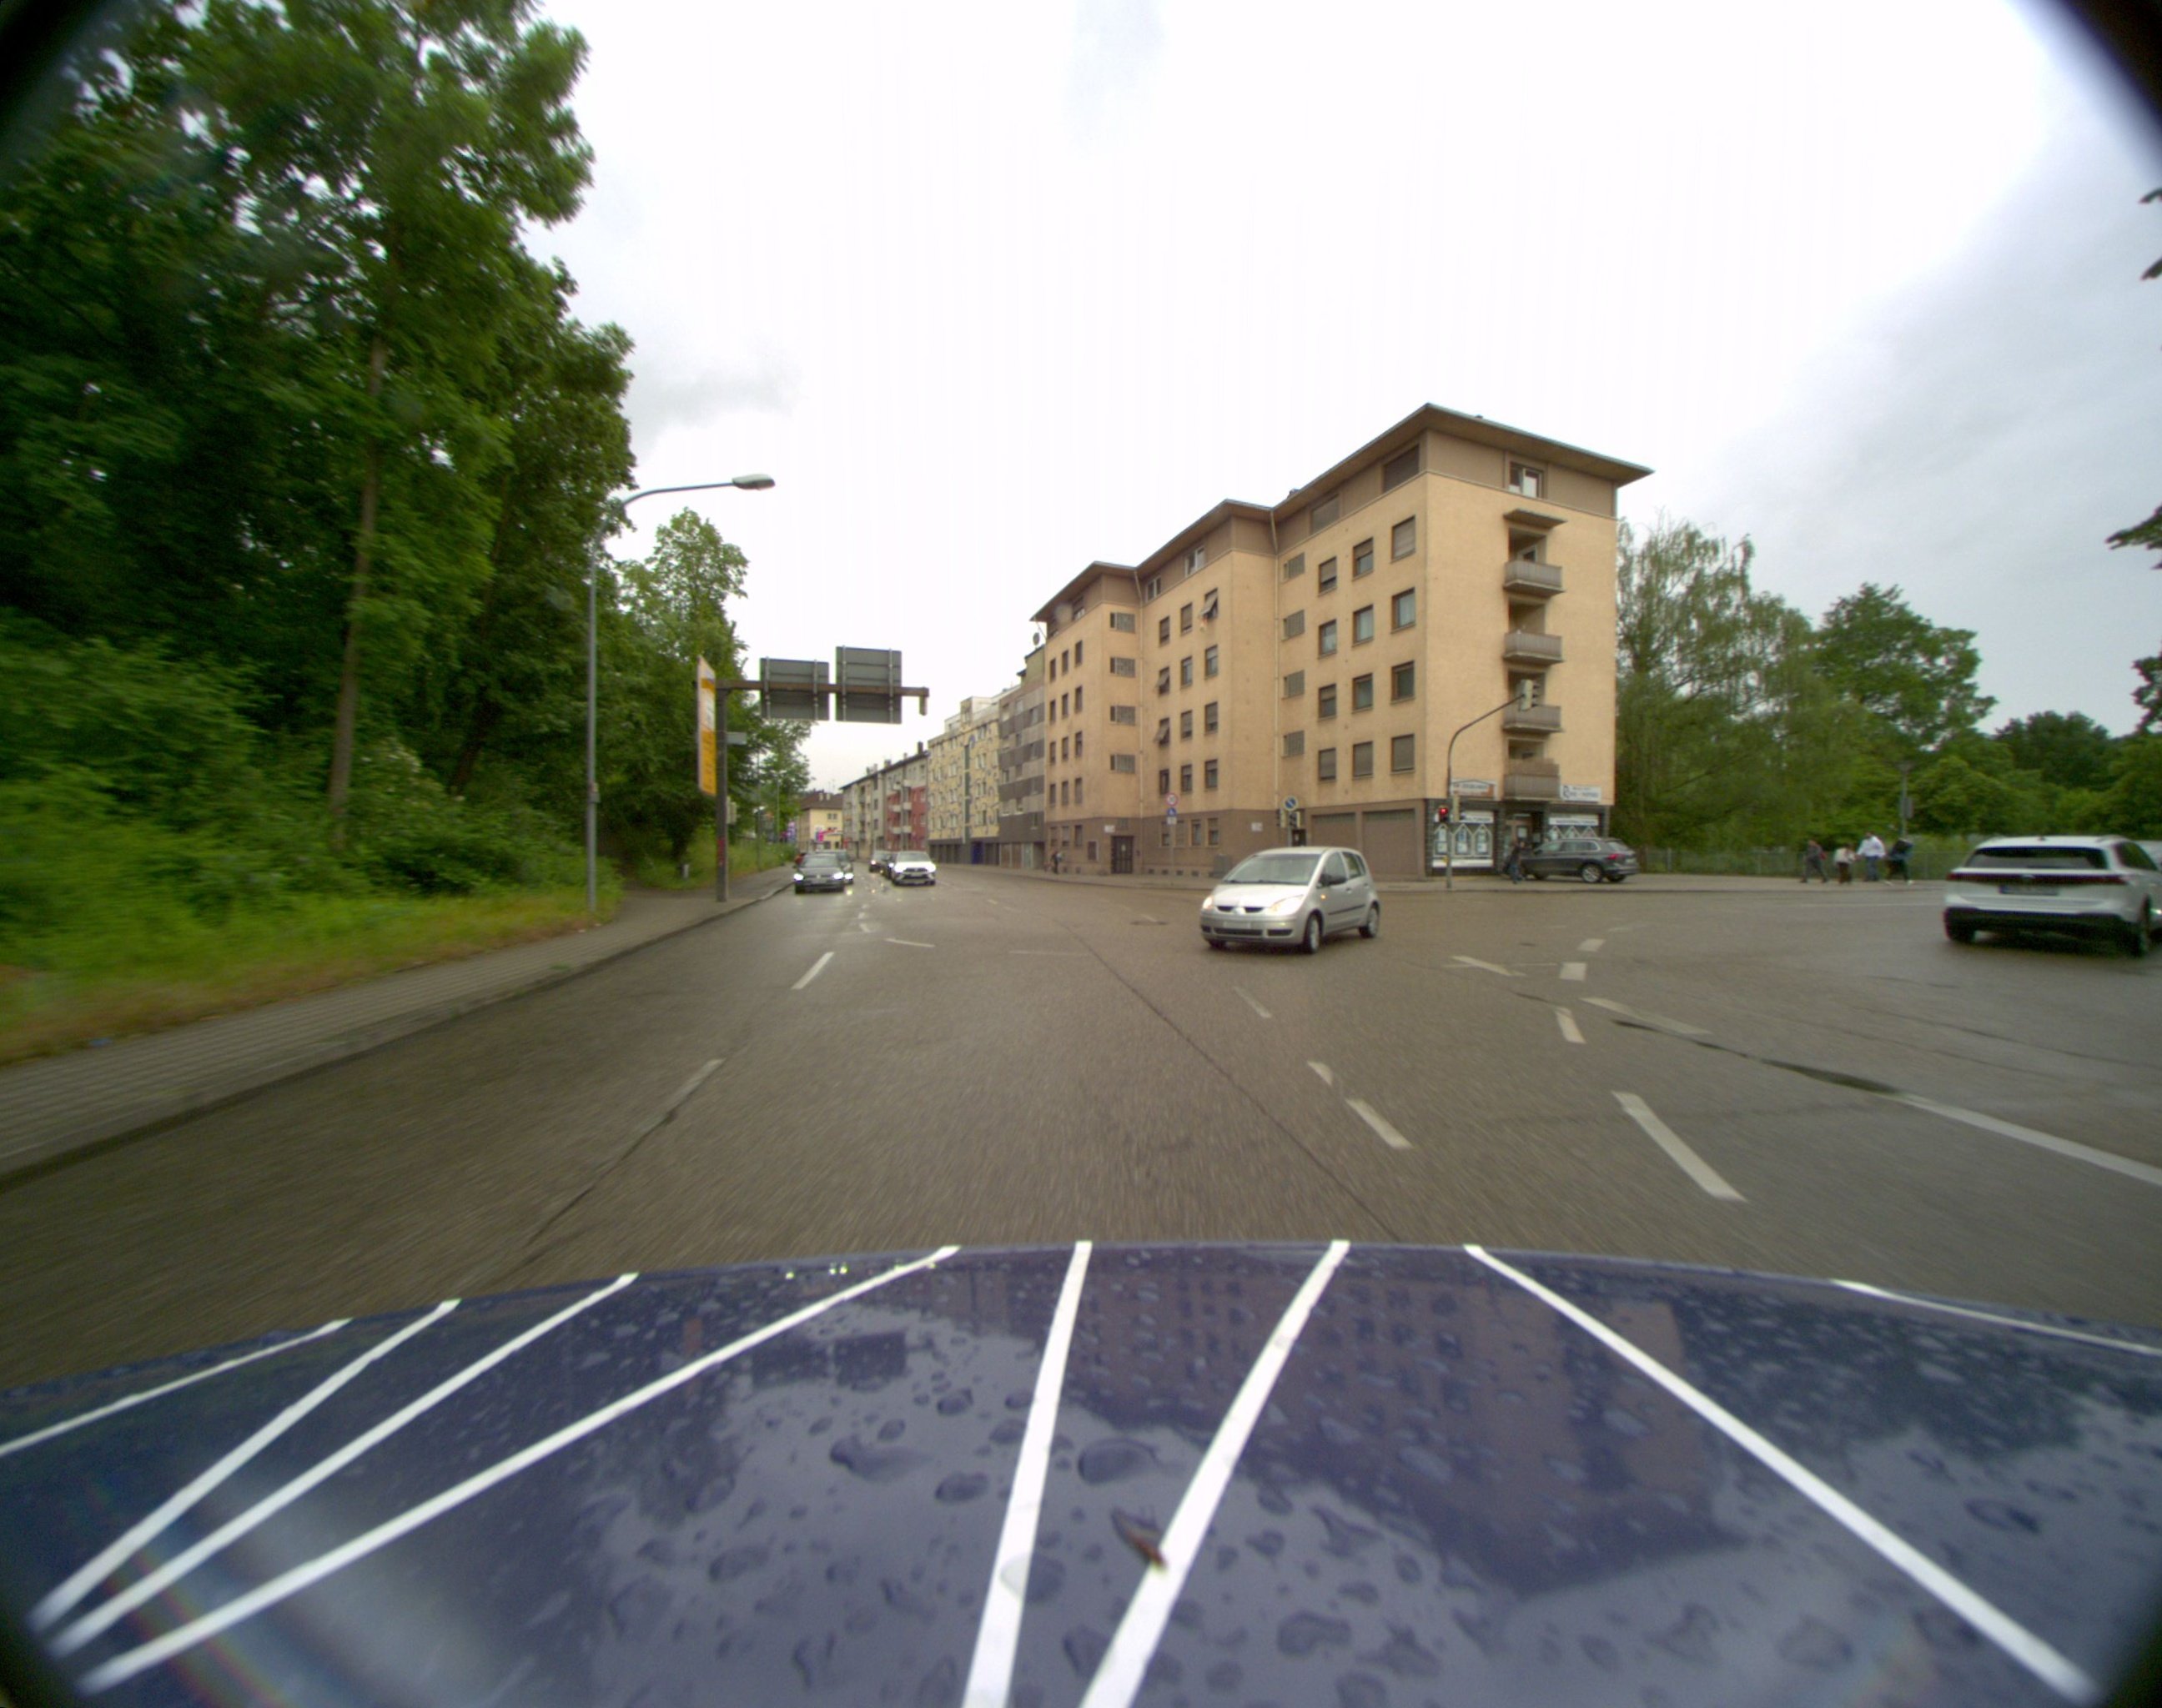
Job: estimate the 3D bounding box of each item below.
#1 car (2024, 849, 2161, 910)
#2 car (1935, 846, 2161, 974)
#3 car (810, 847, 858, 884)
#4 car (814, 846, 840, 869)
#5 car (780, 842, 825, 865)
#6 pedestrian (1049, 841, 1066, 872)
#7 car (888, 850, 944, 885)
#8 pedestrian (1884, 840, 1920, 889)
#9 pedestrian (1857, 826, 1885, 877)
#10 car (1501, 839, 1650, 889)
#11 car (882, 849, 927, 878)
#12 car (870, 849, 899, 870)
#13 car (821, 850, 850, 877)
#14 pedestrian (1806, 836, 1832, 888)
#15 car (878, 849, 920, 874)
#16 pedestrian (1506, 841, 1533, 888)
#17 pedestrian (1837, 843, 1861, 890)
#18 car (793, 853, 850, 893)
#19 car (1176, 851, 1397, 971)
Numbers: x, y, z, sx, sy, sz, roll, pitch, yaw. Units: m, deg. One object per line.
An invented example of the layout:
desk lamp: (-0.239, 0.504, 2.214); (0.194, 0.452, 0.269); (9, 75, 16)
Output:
car: (27.963, 0.618, 19.812); (4.504, 1.454, 1.999); (-1, 1, -4)
car: (15.178, 0.706, 11.744); (4.481, 1.661, 1.839); (0, 1, -32)
car: (-11.756, 0.476, 36.422); (2.001, 1.607, 4.613); (-1, 1, -16)
car: (-18.780, 0.217, 56.088); (1.683, 1.646, 3.993); (0, 1, -20)
car: (-25.562, -0.059, 69.596); (4.474, 2.002, 2.004); (0, 1, 42)
pedestrian: (-1.535, 0.155, 49.098); (0.811, 2.002, 0.857); (-1, 0, -21)
car: (-7.473, 0.549, 34.138); (1.881, 1.469, 4.546); (0, 1, -20)
pedestrian: (27.536, 0.345, 25.493); (0.701, 1.637, 0.661); (1, 2, 38)
pedestrian: (28.111, -0.085, 27.055); (0.508, 1.793, 0.498); (0, 1, 22)
car: (18.189, 0.279, 28.165); (1.762, 1.638, 4.270); (-1, 2, -30)
car: (-9.631, 0.458, 41.183); (1.922, 1.469, 4.612); (0, 1, -19)
car: (-13.843, 0.384, 53.499); (1.714, 1.386, 3.993); (-1, 1, -18)
car: (-16.135, 0.593, 49.907); (1.683, 1.646, 3.993); (0, 1, -20)
pedestrian: (26.032, 0.284, 26.804); (0.558, 1.793, 0.477); (0, 2, 36)
car: (-11.328, 0.425, 47.080); (2.002, 1.469, 4.611); (0, 1, -20)
pedestrian: (15.291, 0.358, 26.491); (0.581, 1.629, 0.618); (0, 1, 1)
pedestrian: (26.003, 0.431, 25.735); (0.443, 1.574, 0.461); (-1, 1, -29)
car: (-10.020, 0.678, 29.600); (1.821, 1.400, 4.226); (-1, 1, -15)
car: (3.403, 0.764, 12.096); (1.748, 1.510, 4.008); (-1, 1, 42)
